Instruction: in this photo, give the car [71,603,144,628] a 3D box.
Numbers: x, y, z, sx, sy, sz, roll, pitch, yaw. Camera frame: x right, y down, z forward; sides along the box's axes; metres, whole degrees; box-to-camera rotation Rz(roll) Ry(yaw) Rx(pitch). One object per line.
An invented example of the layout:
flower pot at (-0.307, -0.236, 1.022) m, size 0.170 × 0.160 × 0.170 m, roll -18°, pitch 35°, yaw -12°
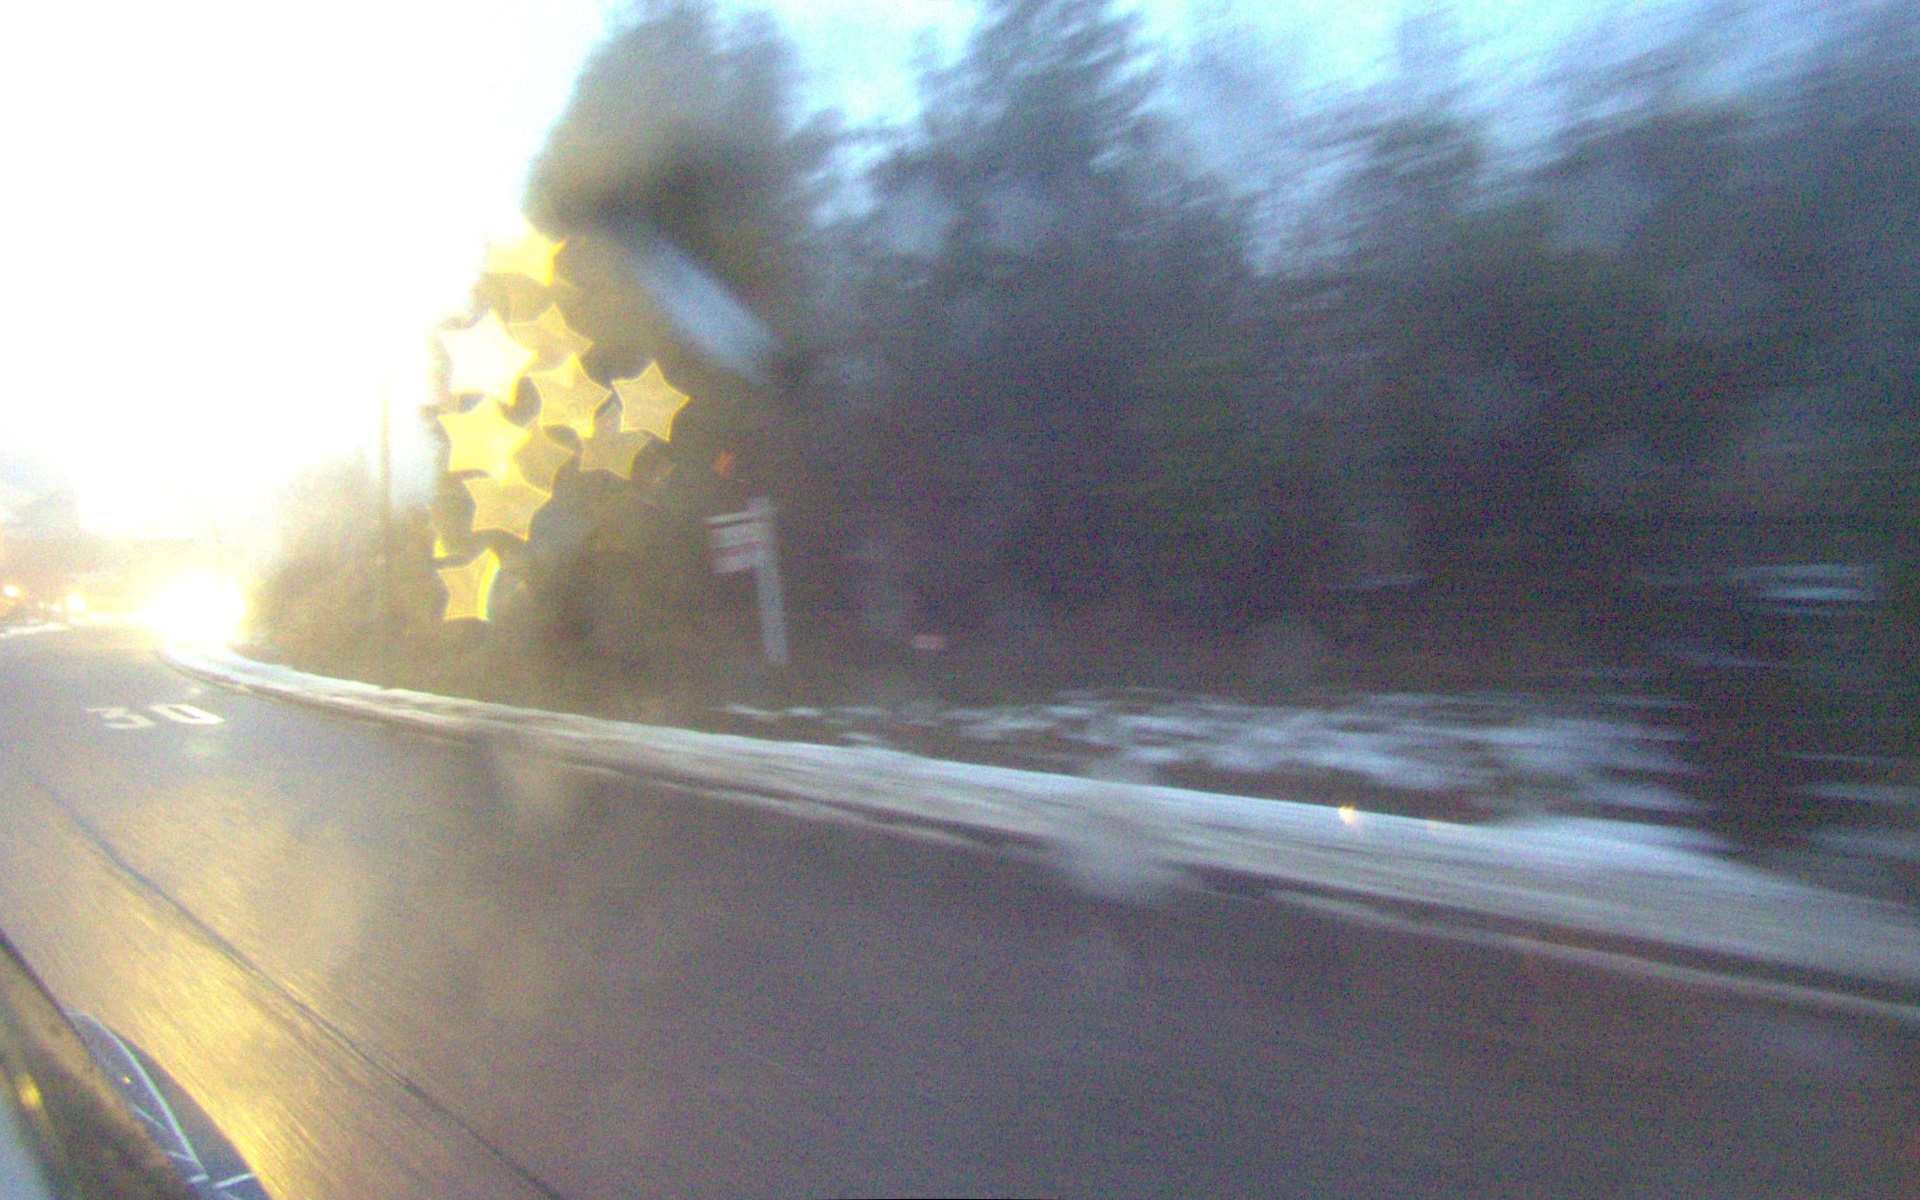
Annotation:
car at (-69.754, 1.283, 82.874) m, size 4.149 × 1.872 × 1.917 m, roll 2°, pitch 0°, yaw -14°
